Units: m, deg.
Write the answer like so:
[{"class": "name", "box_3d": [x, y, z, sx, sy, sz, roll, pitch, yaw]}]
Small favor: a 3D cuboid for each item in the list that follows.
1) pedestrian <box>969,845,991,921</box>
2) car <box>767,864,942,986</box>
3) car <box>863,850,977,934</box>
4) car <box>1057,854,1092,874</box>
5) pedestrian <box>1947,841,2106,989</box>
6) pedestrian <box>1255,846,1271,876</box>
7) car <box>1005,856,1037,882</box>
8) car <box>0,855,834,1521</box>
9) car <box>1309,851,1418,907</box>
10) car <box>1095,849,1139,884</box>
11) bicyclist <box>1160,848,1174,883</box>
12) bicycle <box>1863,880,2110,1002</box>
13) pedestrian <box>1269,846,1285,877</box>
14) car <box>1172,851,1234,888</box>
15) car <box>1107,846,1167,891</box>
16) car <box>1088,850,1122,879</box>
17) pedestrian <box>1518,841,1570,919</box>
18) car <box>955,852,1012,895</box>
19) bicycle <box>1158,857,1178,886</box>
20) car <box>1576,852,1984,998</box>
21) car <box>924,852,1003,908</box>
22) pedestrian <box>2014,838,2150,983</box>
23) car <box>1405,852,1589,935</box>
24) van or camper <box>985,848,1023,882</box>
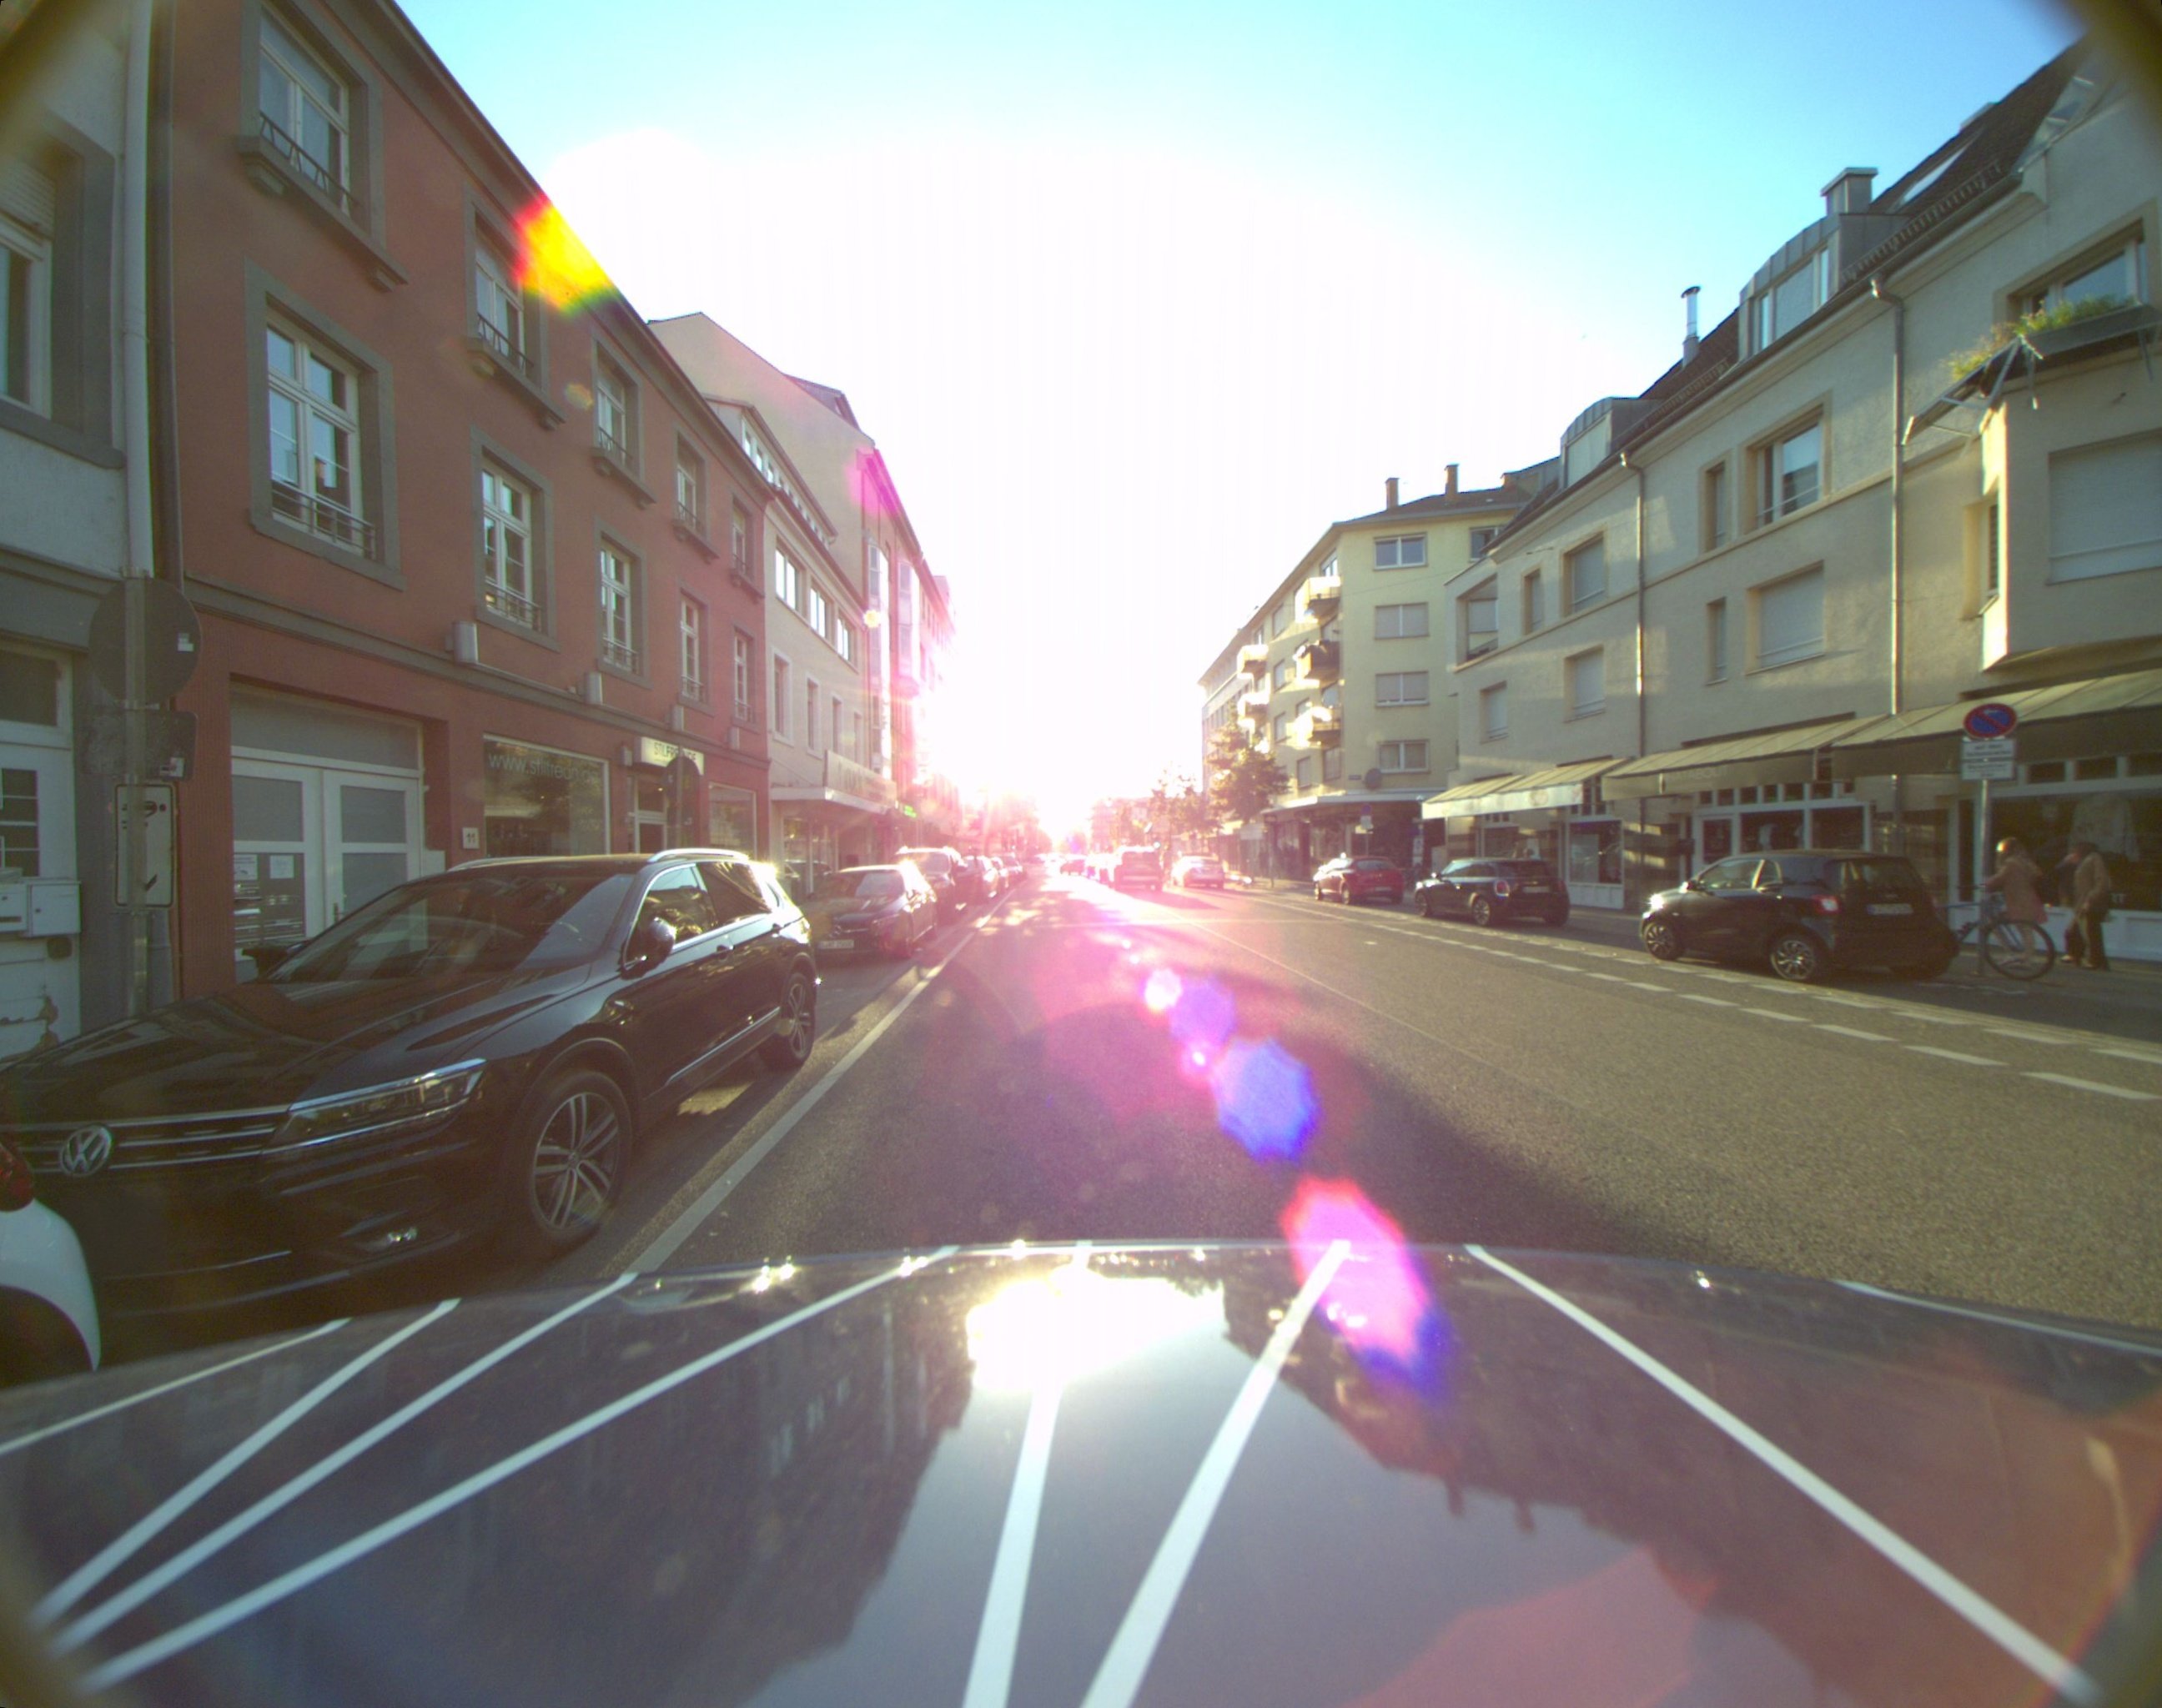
[{"class": "pedestrian", "box_3d": [-2.508, 0.707, 18.852, 0.485, 1.847, 0.539, -1, 1, -10]}, {"class": "car", "box_3d": [-3.520, 1.012, 12.701, 1.689, 1.479, 4.409, -3, 1, -2]}, {"class": "car", "box_3d": [-3.854, 0.805, 19.148, 1.999, 1.767, 5.316, -2, 1, -4]}, {"class": "car", "box_3d": [-0.568, 0.763, 60.623, 1.505, 1.426, 4.020, 1, 1, -20]}, {"class": "pedestrian", "box_3d": [11.469, 0.696, 9.261, 0.632, 1.690, 1.040, -1, 1, -2]}, {"class": "pedestrian", "box_3d": [10.802, 0.416, 45.113, 0.720, 1.781, 0.666, -1, 1, -1]}, {"class": "car", "box_3d": [-3.638, 0.884, 46.515, 1.694, 1.494, 3.786, 0, 1, 0]}, {"class": "car", "box_3d": [-2.960, 0.915, 4.240, 1.799, 1.688, 4.458, -3, 1, -2]}, {"class": "car", "box_3d": [8.642, 0.710, 23.629, 1.794, 1.571, 3.785, -1, 1, -4]}, {"class": "car", "box_3d": [1.782, 0.583, 38.806, 1.843, 1.639, 4.299, 1, 1, -2]}, {"class": "bicyclist", "box_3d": [3.914, 0.535, 34.609, 0.548, 1.571, 0.803, -1, 1, 1]}, {"class": "bicycle", "box_3d": [10.541, 0.953, 8.982, 0.560, 1.199, 1.977, 0, 1, 1]}, {"class": "pedestrian", "box_3d": [11.121, 0.418, 43.066, 0.720, 1.781, 0.666, -1, 1, -1]}, {"class": "car", "box_3d": [5.584, 0.667, 35.390, 1.999, 1.595, 4.403, 0, 0, -3]}, {"class": "car", "box_3d": [2.146, 0.530, 30.335, 1.843, 1.639, 4.299, 1, 1, -3]}, {"class": "car", "box_3d": [1.463, 0.626, 47.721, 1.843, 1.639, 4.299, 1, 1, -2]}, {"class": "pedestrian", "box_3d": [10.631, 0.585, 17.470, 0.720, 1.724, 0.738, -1, 1, -2]}, {"class": "car", "box_3d": [-3.993, 0.742, 31.885, 1.999, 1.645, 4.478, -1, 1, -2]}, {"class": "bicycle", "box_3d": [3.970, 0.792, 34.795, 0.665, 1.235, 2.130, 1, 1, 1]}, {"class": "car", "box_3d": [9.061, 0.775, 10.414, 1.794, 1.571, 3.965, -1, 1, -4]}, {"class": "car", "box_3d": [-3.873, 0.800, 25.887, 1.999, 1.645, 4.627, -2, 1, -1]}, {"class": "pedestrian", "box_3d": [12.231, 0.654, 9.314, 0.561, 1.690, 0.831, -1, 1, -2]}, {"class": "car", "box_3d": [8.906, 0.756, 16.680, 1.794, 1.571, 3.785, -1, 1, -4]}, {"class": "van or camper", "box_3d": [-4.145, 0.541, 41.464, 1.793, 1.763, 4.556, 0, 1, -3]}]
